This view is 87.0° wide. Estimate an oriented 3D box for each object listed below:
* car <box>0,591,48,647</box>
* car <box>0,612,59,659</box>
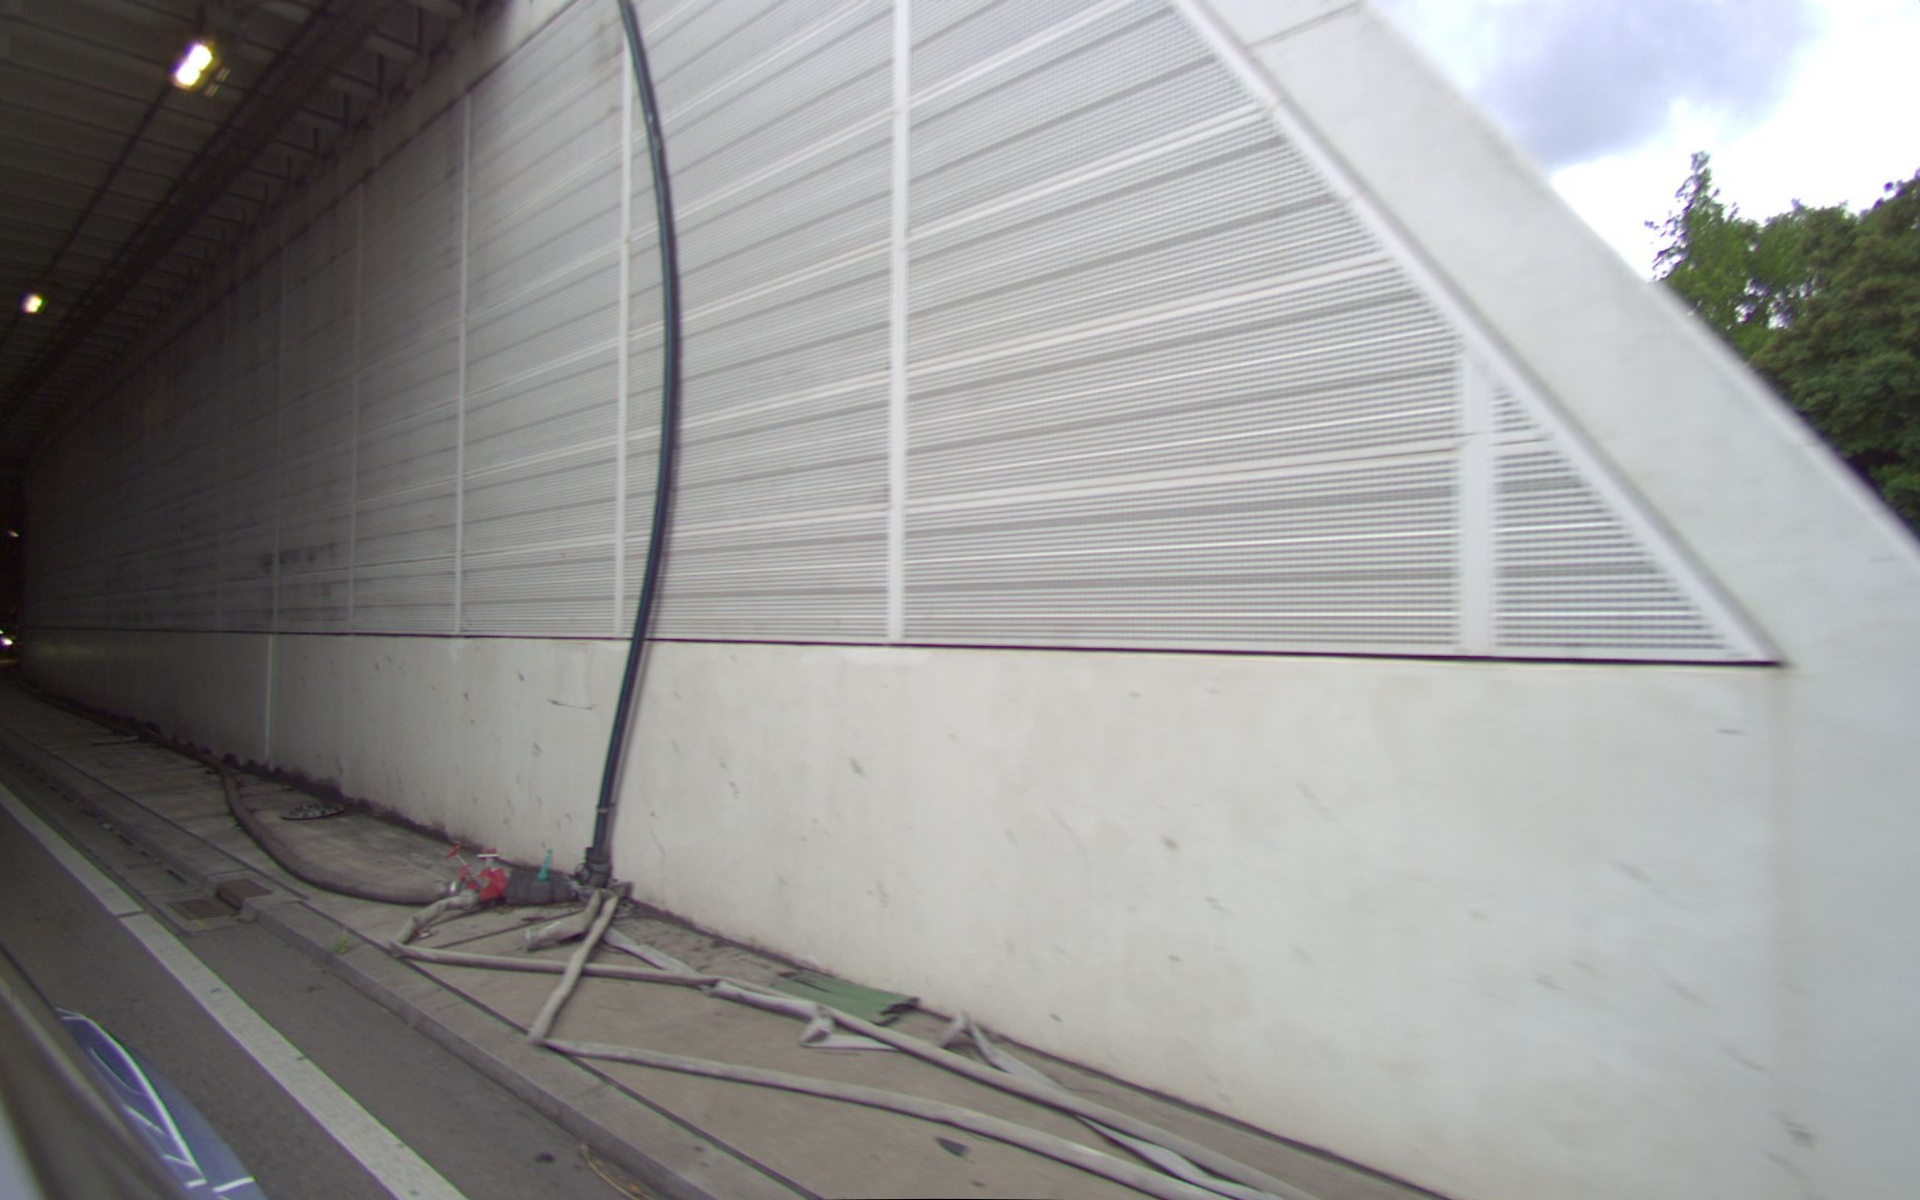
[{"bbox_3d":[-50.280,0.996,53.061,2.519,2.789,7.370,2,-2,-33],"label":"car"},{"bbox_3d":[-41.869,1.531,44.005,2.335,1.940,5.215,0,-1,-22],"label":"car"}]
